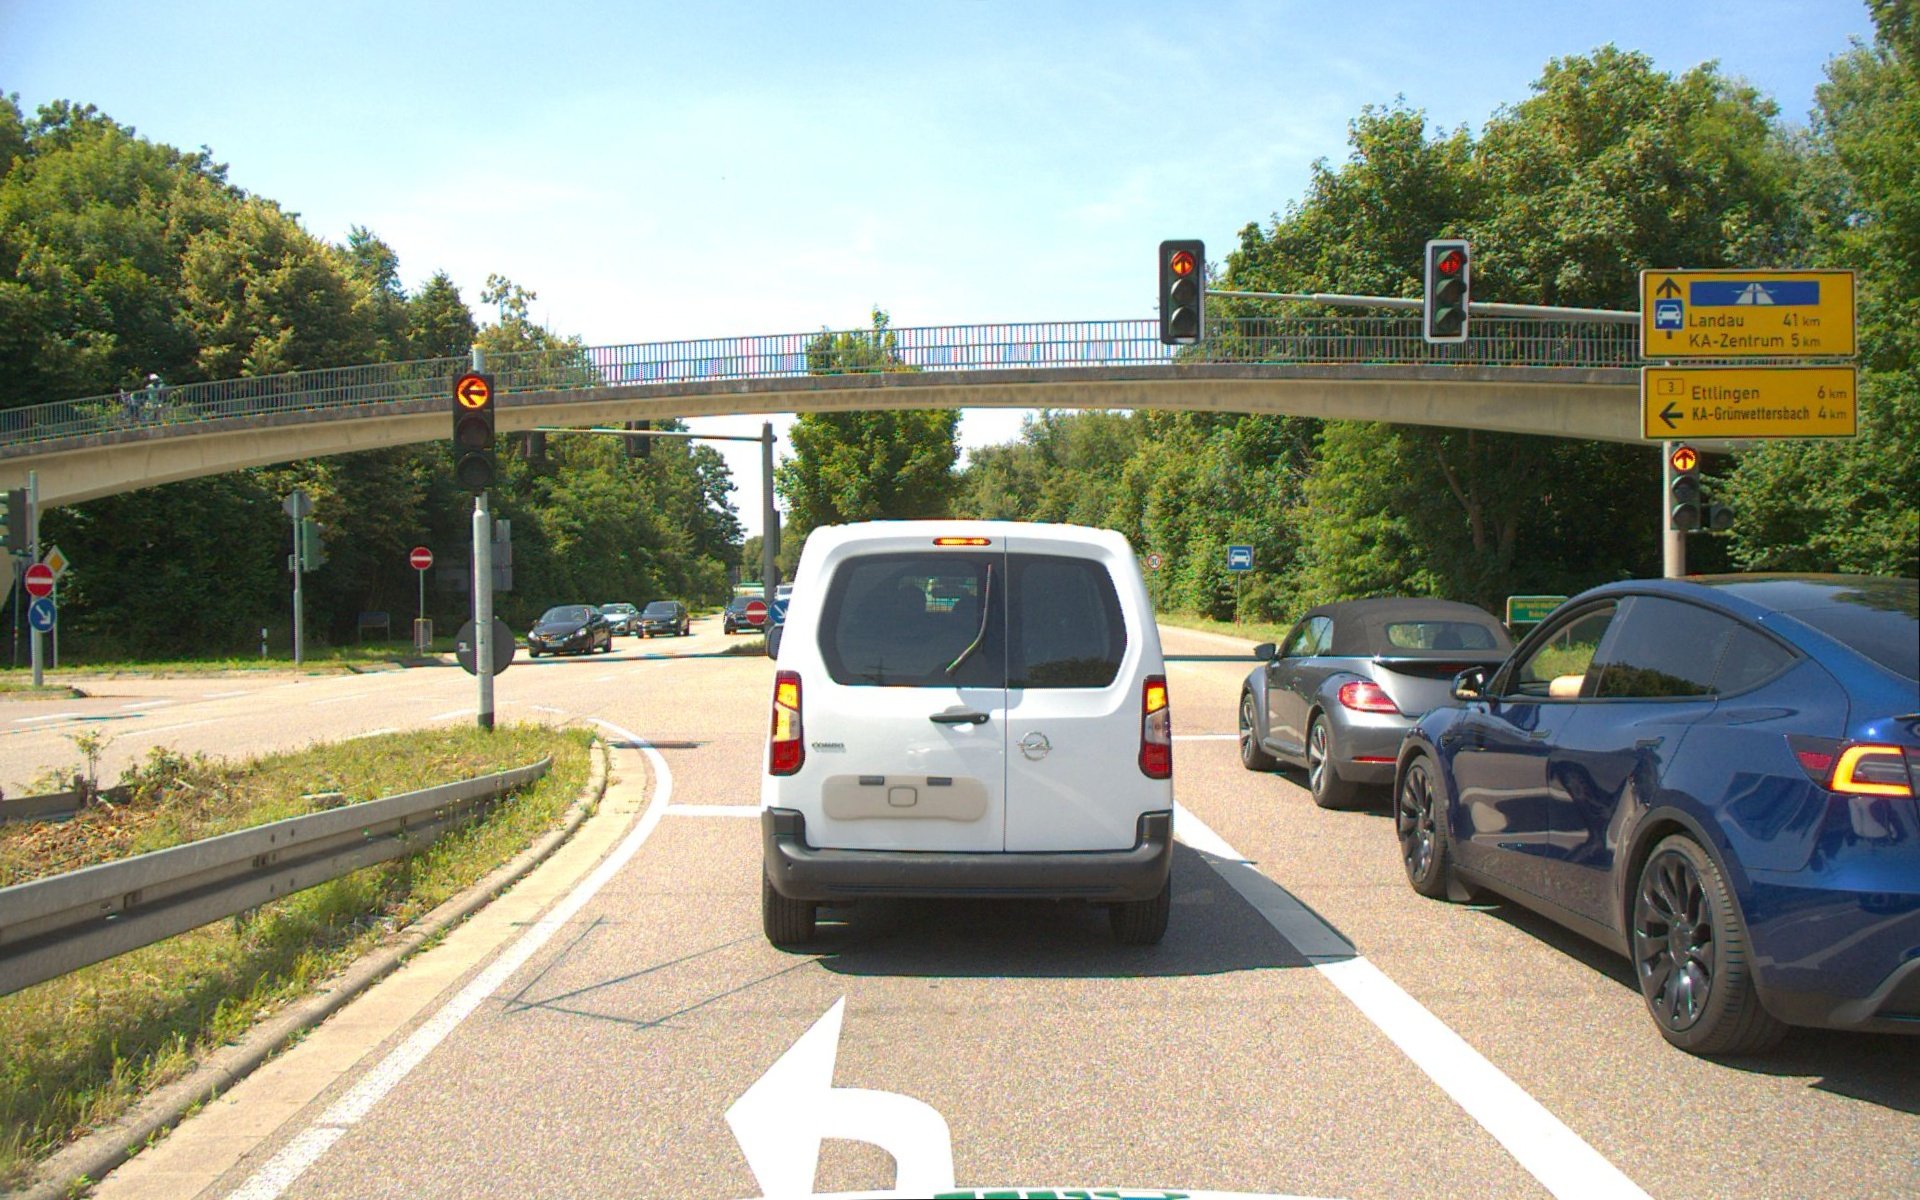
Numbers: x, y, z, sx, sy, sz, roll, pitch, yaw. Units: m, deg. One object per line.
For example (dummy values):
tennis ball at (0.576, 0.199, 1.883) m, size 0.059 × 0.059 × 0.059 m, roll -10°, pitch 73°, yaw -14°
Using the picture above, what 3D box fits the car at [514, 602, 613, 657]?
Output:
car at (-11.630, 0.839, 48.806) m, size 1.967 × 1.486 × 4.054 m, roll -2°, pitch 0°, yaw -1°

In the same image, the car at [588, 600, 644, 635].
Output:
car at (-15.368, 0.762, 74.016) m, size 1.717 × 1.431 × 3.999 m, roll -1°, pitch 0°, yaw -1°

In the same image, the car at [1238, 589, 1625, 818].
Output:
car at (3.484, 0.683, 13.026) m, size 1.862 × 1.503 × 3.938 m, roll 1°, pitch 0°, yaw -1°

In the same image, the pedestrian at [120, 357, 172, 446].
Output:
pedestrian at (-21.464, -5.219, 43.611) m, size 0.765 × 2.177 × 0.932 m, roll -3°, pitch -2°, yaw 15°

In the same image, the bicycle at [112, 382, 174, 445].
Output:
bicycle at (-21.403, -4.878, 43.340) m, size 1.494 × 1.500 × 0.470 m, roll -3°, pitch -2°, yaw 15°

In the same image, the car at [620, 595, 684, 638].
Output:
car at (-12.837, 0.665, 69.201) m, size 1.953 × 1.694 × 3.999 m, roll -1°, pitch 0°, yaw -1°

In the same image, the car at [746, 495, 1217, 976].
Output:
car at (0.028, 0.501, 8.434) m, size 1.812 × 1.857 × 3.980 m, roll 1°, pitch 1°, yaw -2°

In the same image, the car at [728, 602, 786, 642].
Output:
car at (-8.485, 0.902, 69.503) m, size 1.953 × 1.550 × 4.027 m, roll 2°, pitch 0°, yaw -1°

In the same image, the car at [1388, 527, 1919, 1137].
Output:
car at (3.321, 0.635, 6.821) m, size 1.862 × 1.673 × 4.519 m, roll 1°, pitch 0°, yaw -1°

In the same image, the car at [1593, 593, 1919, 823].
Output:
car at (6.825, 0.718, 13.132) m, size 1.862 × 1.503 × 4.379 m, roll 1°, pitch 0°, yaw -1°

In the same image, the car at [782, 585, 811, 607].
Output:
car at (-13.158, -0.348, 133.150) m, size 1.953 × 1.694 × 3.999 m, roll -1°, pitch 0°, yaw -1°
